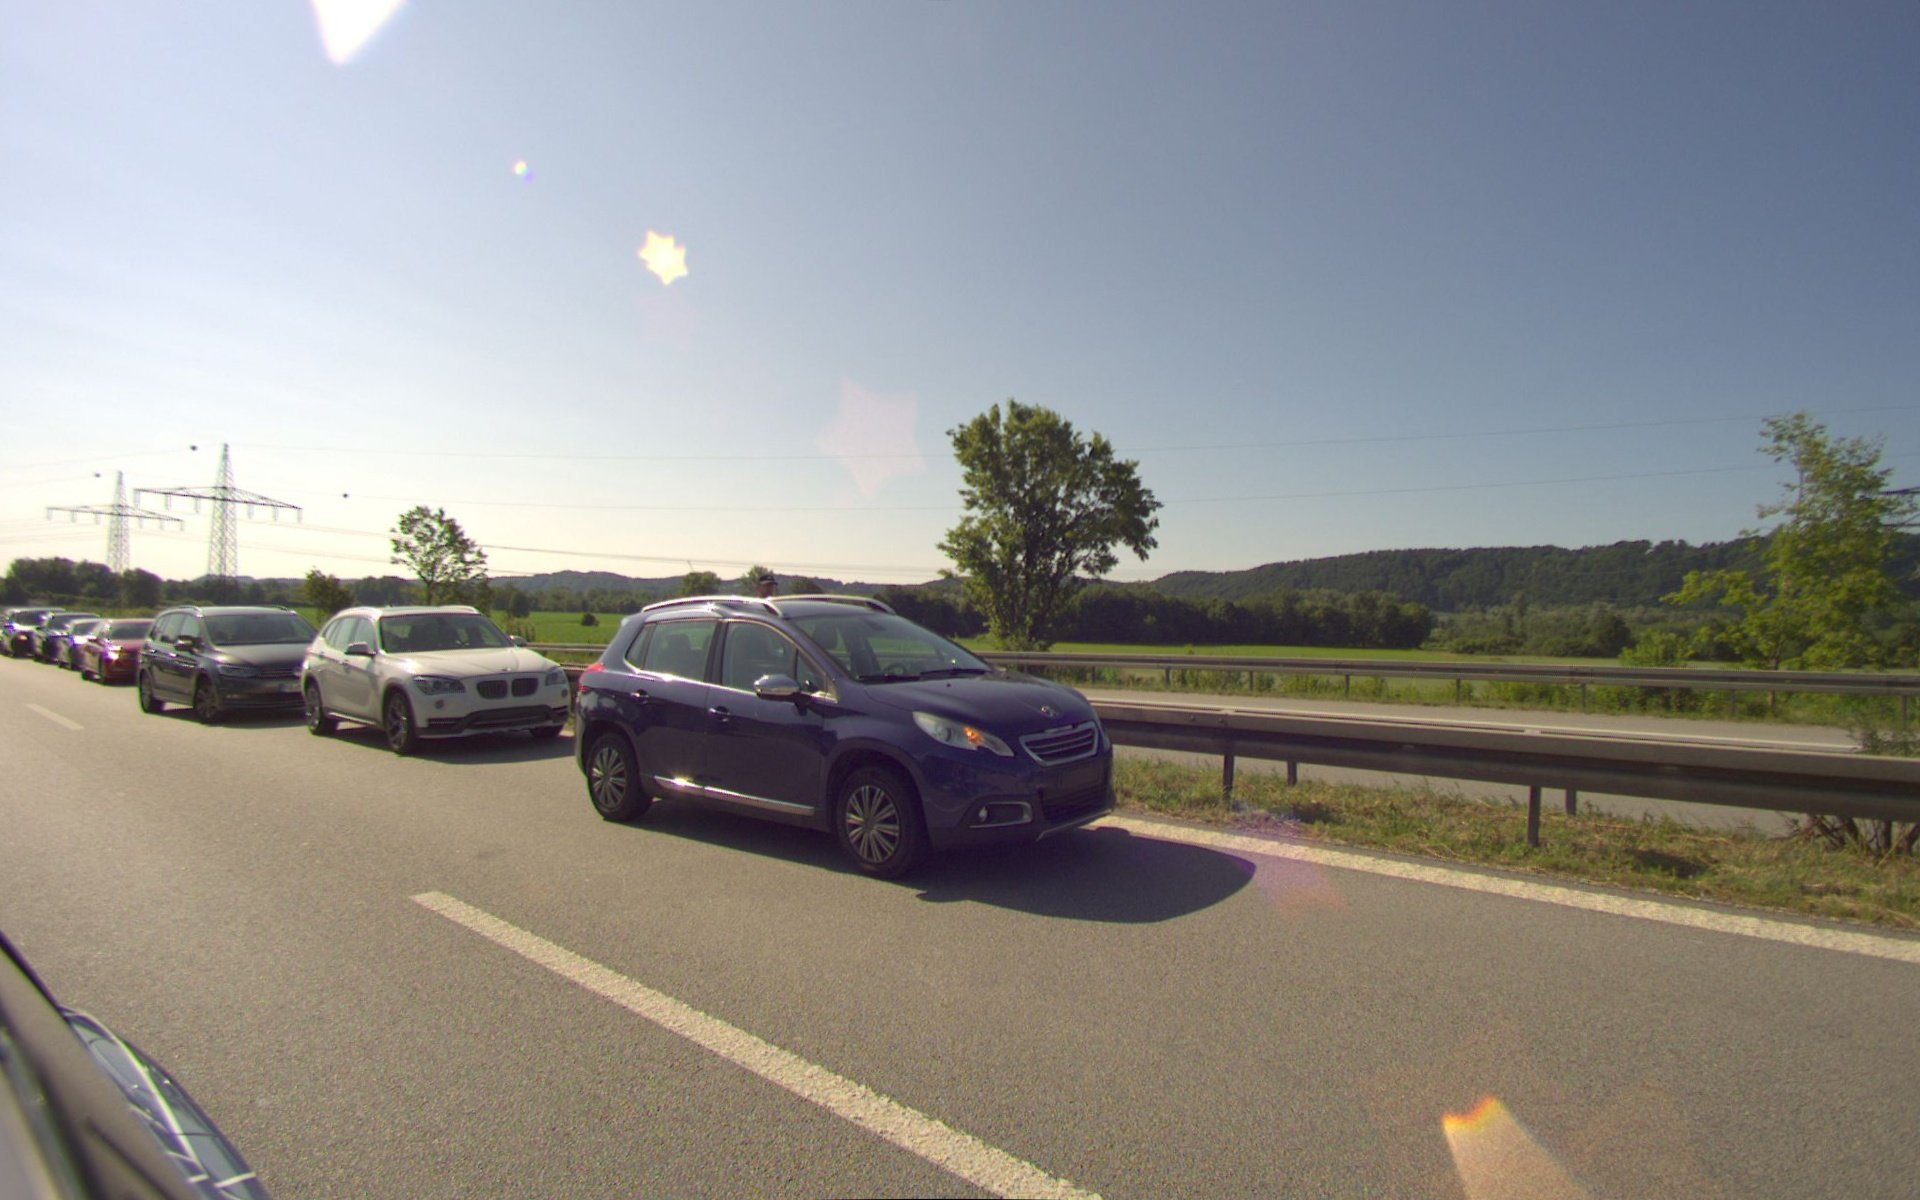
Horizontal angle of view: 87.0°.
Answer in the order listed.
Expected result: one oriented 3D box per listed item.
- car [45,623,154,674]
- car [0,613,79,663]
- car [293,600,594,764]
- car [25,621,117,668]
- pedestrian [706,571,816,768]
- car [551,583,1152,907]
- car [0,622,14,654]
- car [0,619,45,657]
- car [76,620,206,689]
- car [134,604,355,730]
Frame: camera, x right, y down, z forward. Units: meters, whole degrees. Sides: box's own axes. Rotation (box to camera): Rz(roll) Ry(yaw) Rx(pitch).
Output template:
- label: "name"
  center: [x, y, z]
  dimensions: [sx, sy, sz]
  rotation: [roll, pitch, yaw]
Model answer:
- label: "car"
  center: [-25.330, 1.381, 29.743]
  dimensions: [3.998, 1.409, 1.870]
  rotation: [-1, -2, 41]
- label: "car"
  center: [-35.011, 1.408, 38.358]
  dimensions: [4.197, 1.801, 1.877]
  rotation: [-1, -2, 41]
- label: "car"
  center: [-6.174, 0.838, 11.891]
  dimensions: [4.163, 1.586, 1.808]
  rotation: [-1, -1, 42]
- label: "car"
  center: [-29.794, 1.456, 33.886]
  dimensions: [3.999, 1.466, 1.869]
  rotation: [-1, -2, 42]
- label: "pedestrian"
  center: [-1.886, 0.631, 9.597]
  dimensions: [0.814, 1.764, 0.663]
  rotation: [-1, -2, 41]
- label: "car"
  center: [-0.894, 0.716, 6.738]
  dimensions: [3.944, 1.546, 1.671]
  rotation: [-1, 0, 39]
- label: "car"
  center: [-47.492, 1.839, 49.079]
  dimensions: [3.998, 1.542, 1.973]
  rotation: [-1, -2, 41]
- label: "car"
  center: [-40.492, 1.593, 42.978]
  dimensions: [3.998, 1.542, 1.973]
  rotation: [-1, -2, 41]
- label: "car"
  center: [-19.144, 1.219, 23.604]
  dimensions: [4.117, 1.470, 1.795]
  rotation: [-1, -2, 43]
- label: "car"
  center: [-10.827, 0.904, 15.207]
  dimensions: [4.115, 1.628, 1.796]
  rotation: [-1, -1, 41]
